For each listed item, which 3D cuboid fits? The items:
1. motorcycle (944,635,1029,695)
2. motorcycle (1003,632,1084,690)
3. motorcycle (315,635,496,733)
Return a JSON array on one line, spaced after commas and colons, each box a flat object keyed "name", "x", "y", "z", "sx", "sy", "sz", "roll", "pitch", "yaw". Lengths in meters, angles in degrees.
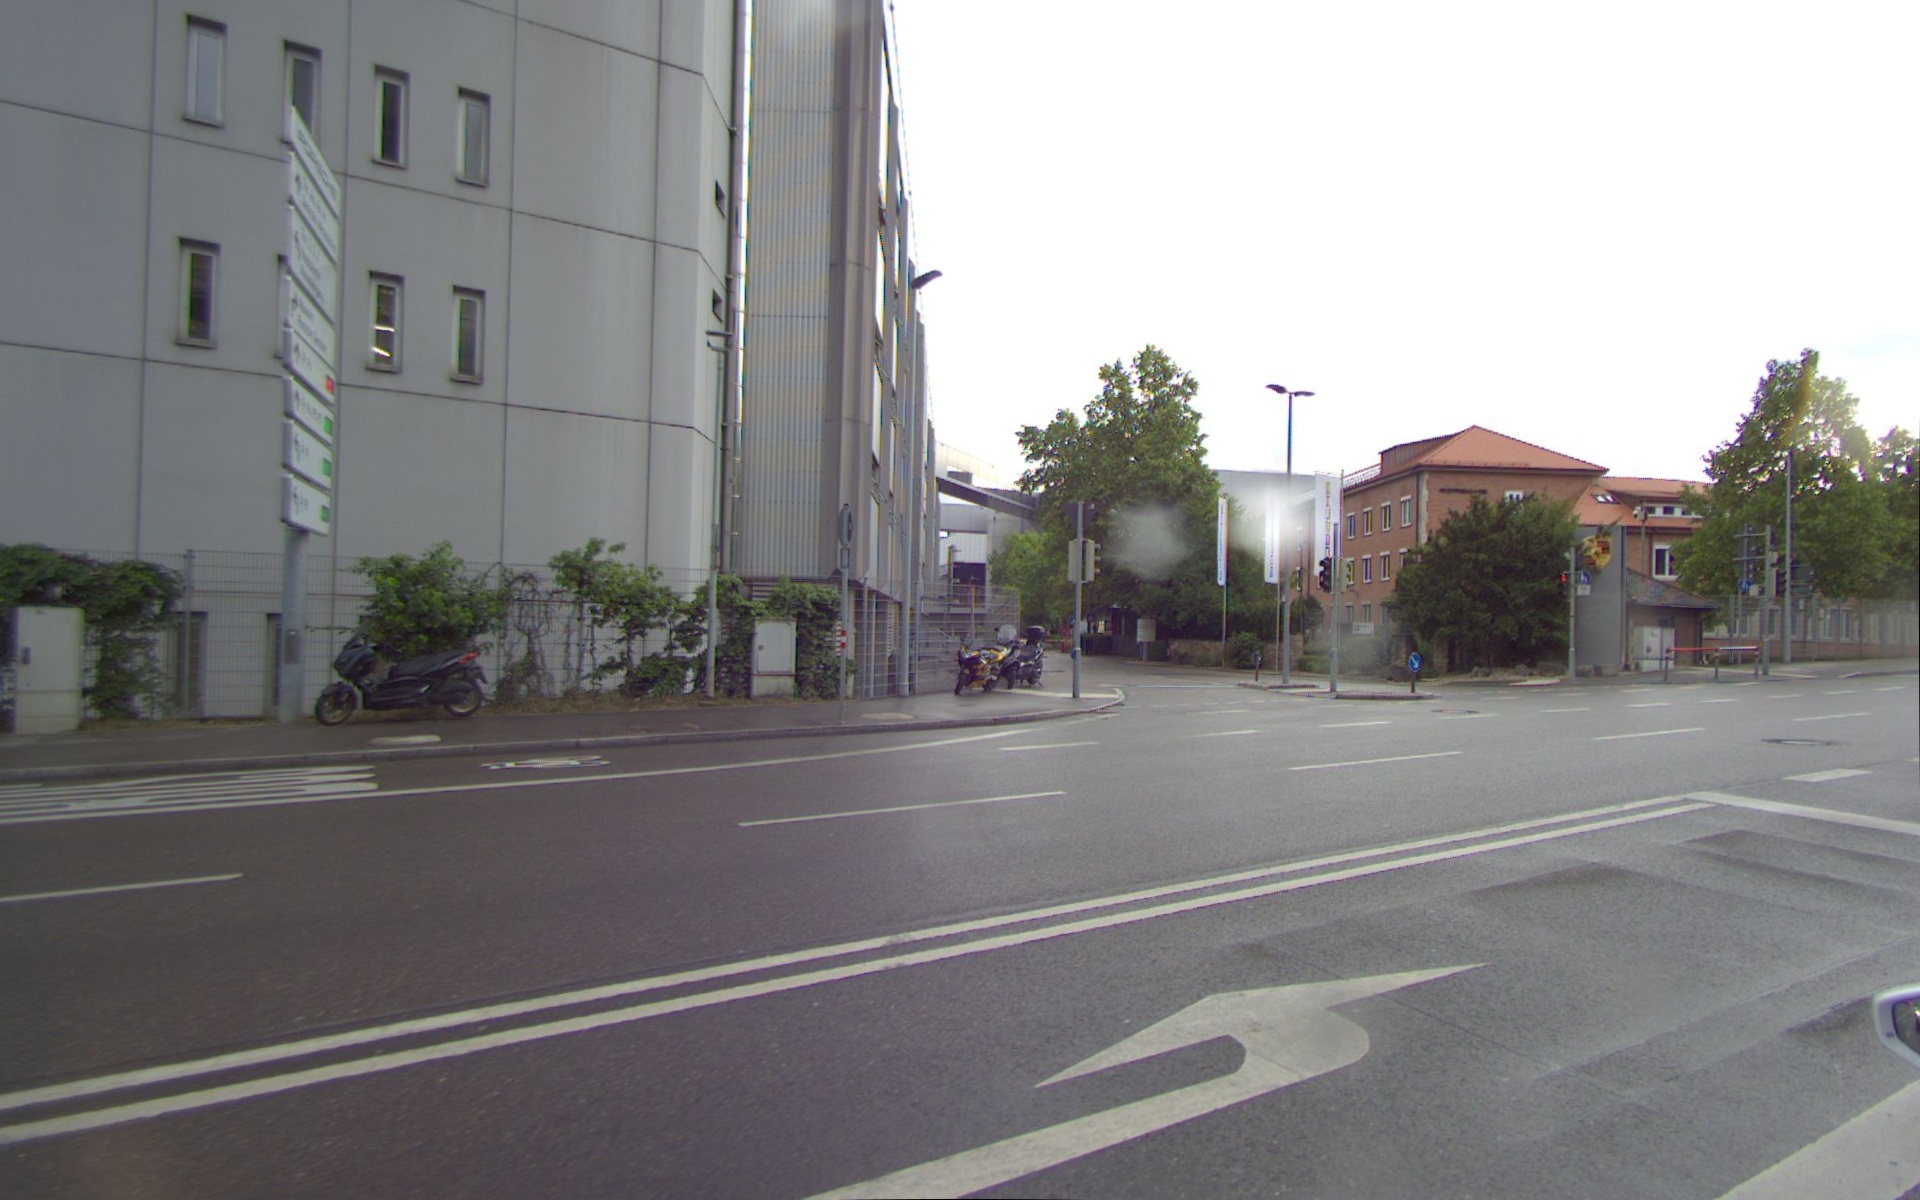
[{"name": "motorcycle", "x": 0.630, "y": 1.395, "z": 22.238, "sx": 0.759, "sy": 1.234, "sz": 2.504, "roll": 0, "pitch": -1, "yaw": 31}, {"name": "motorcycle", "x": 2.093, "y": 1.460, "z": 24.669, "sx": 1.008, "sy": 1.355, "sz": 2.772, "roll": -1, "pitch": -2, "yaw": 27}, {"name": "motorcycle", "x": -7.664, "y": 1.124, "z": 13.954, "sx": 2.133, "sy": 1.263, "sz": 0.781, "roll": 2, "pitch": -1, "yaw": -31}]
